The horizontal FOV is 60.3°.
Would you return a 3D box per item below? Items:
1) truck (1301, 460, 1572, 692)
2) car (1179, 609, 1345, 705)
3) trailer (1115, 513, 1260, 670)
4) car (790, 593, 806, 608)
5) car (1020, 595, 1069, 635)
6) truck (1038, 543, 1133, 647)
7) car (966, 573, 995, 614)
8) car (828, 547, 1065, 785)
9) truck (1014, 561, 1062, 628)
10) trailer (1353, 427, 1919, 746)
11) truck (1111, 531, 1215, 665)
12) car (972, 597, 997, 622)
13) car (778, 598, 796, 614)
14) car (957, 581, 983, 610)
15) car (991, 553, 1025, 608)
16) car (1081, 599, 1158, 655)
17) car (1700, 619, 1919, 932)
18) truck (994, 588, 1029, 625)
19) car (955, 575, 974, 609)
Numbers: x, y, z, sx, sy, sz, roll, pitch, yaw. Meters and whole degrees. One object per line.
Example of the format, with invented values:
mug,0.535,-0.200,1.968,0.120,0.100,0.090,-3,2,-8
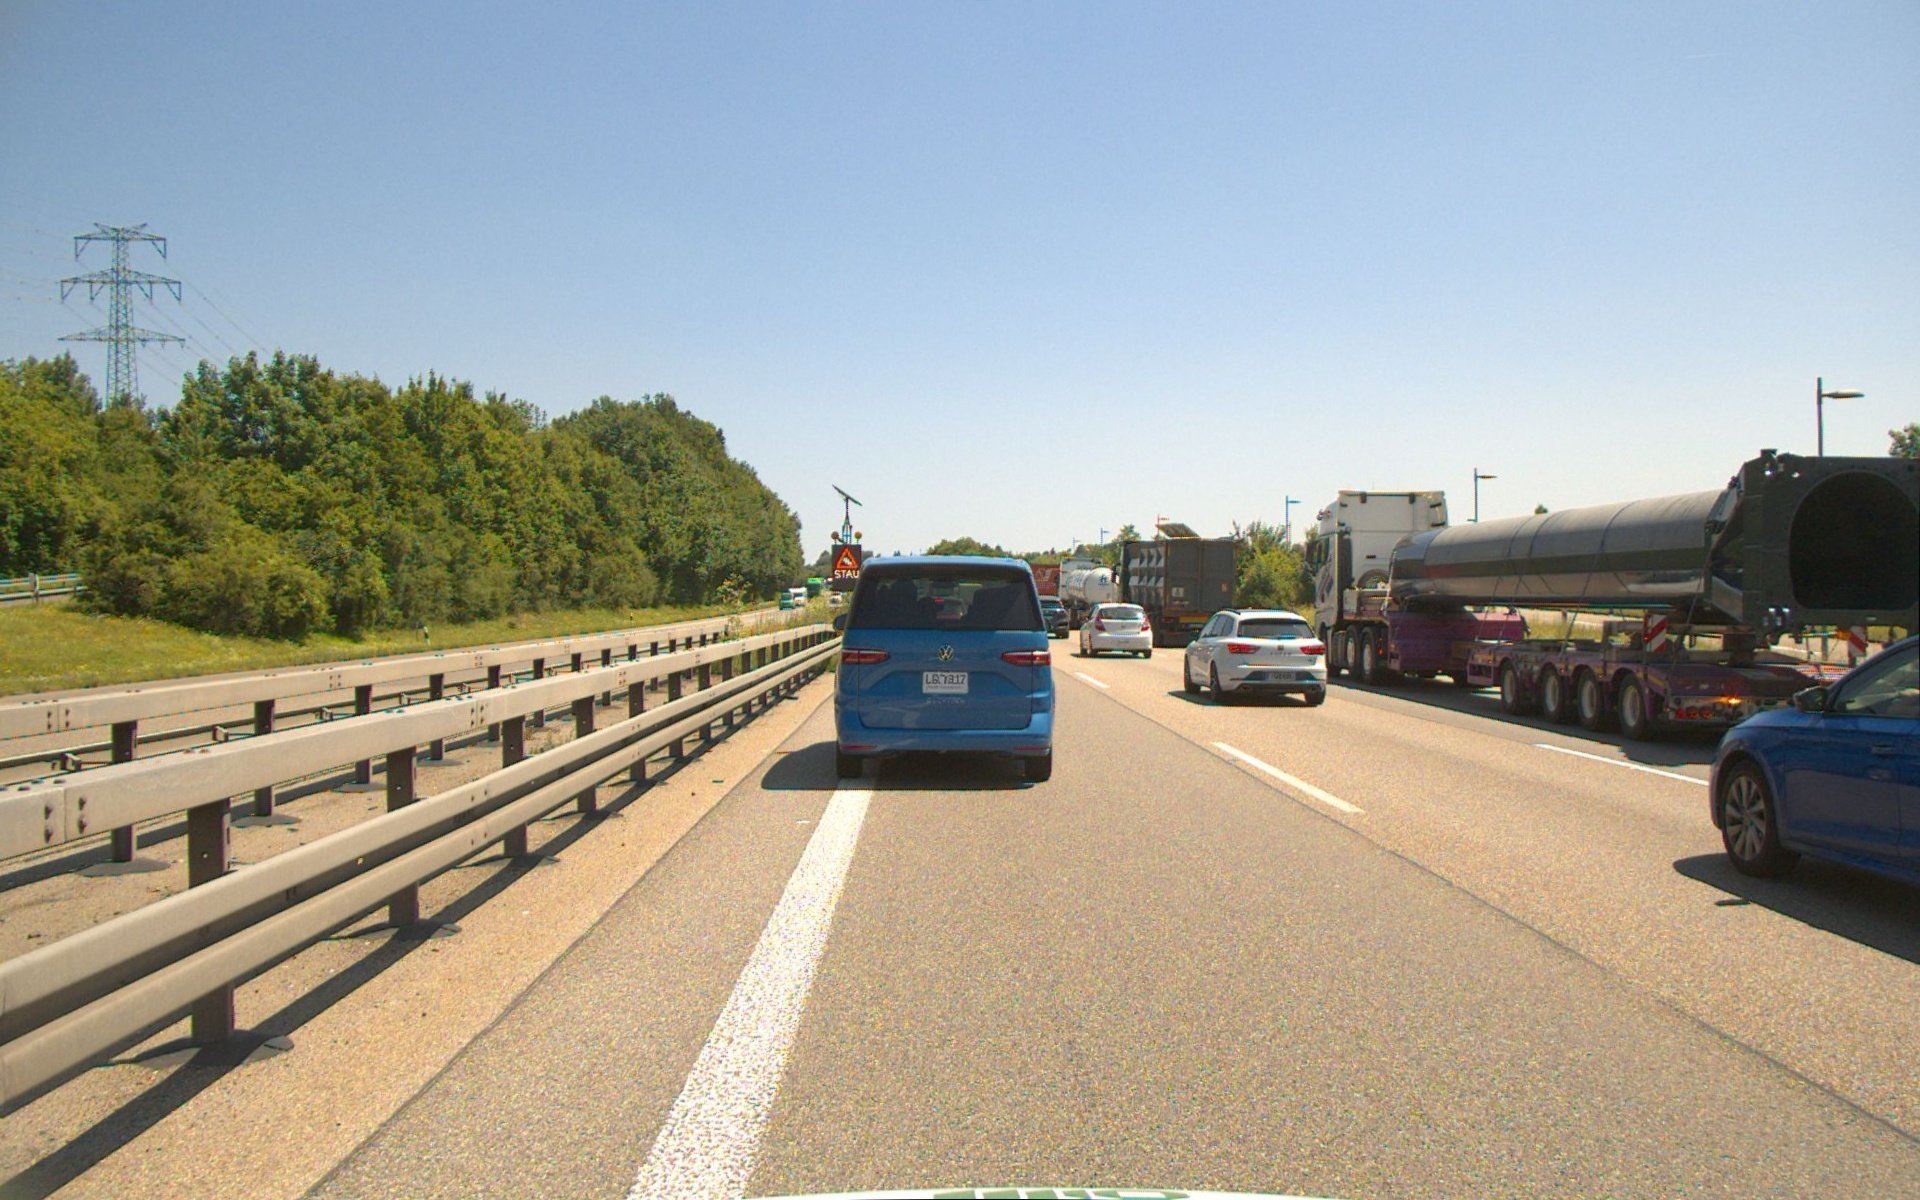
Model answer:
truck,9.462,-0.374,33.895,3.551,4.166,7.525,1,-1,2
car,4.738,0.856,26.497,1.830,1.385,3.999,1,0,-1
trailer,8.277,-0.162,62.250,3.572,5.226,13.073,1,-1,0
car,-22.018,0.019,225.021,1.760,1.919,3.999,1,-1,-1
car,3.440,0.642,67.899,1.745,1.551,3.999,1,-1,-1
truck,6.821,-0.137,92.948,3.548,5.304,15.681,1,-1,-2
car,2.773,-0.842,221.677,3.155,5.349,8.136,1,-1,-4
car,-0.088,0.565,15.216,1.862,1.870,4.000,1,-1,0
truck,6.099,-0.307,130.487,3.006,5.006,10.686,1,-1,-1
trailer,9.268,0.019,24.262,3.571,3.133,15.772,1,-1,1
truck,8.341,-0.016,68.542,3.583,5.270,5.708,1,-1,0
car,2.046,0.826,140.050,1.953,2.049,3.999,1,-1,-1
car,-21.644,0.719,207.047,1.760,1.919,3.999,1,-1,-1
car,1.014,-0.462,167.785,2.499,2.765,5.619,1,-1,-1
car,4.923,-1.937,170.810,3.153,5.349,8.142,1,-1,-1
car,4.485,0.770,46.960,1.802,1.480,4.000,1,-1,0
car,5.345,0.838,7.844,1.671,1.466,4.427,1,-1,0
truck,2.721,0.374,88.100,1.690,1.890,3.999,1,-1,-1
car,0.645,-1.166,251.221,2.661,4.796,11.557,1,-1,-1
